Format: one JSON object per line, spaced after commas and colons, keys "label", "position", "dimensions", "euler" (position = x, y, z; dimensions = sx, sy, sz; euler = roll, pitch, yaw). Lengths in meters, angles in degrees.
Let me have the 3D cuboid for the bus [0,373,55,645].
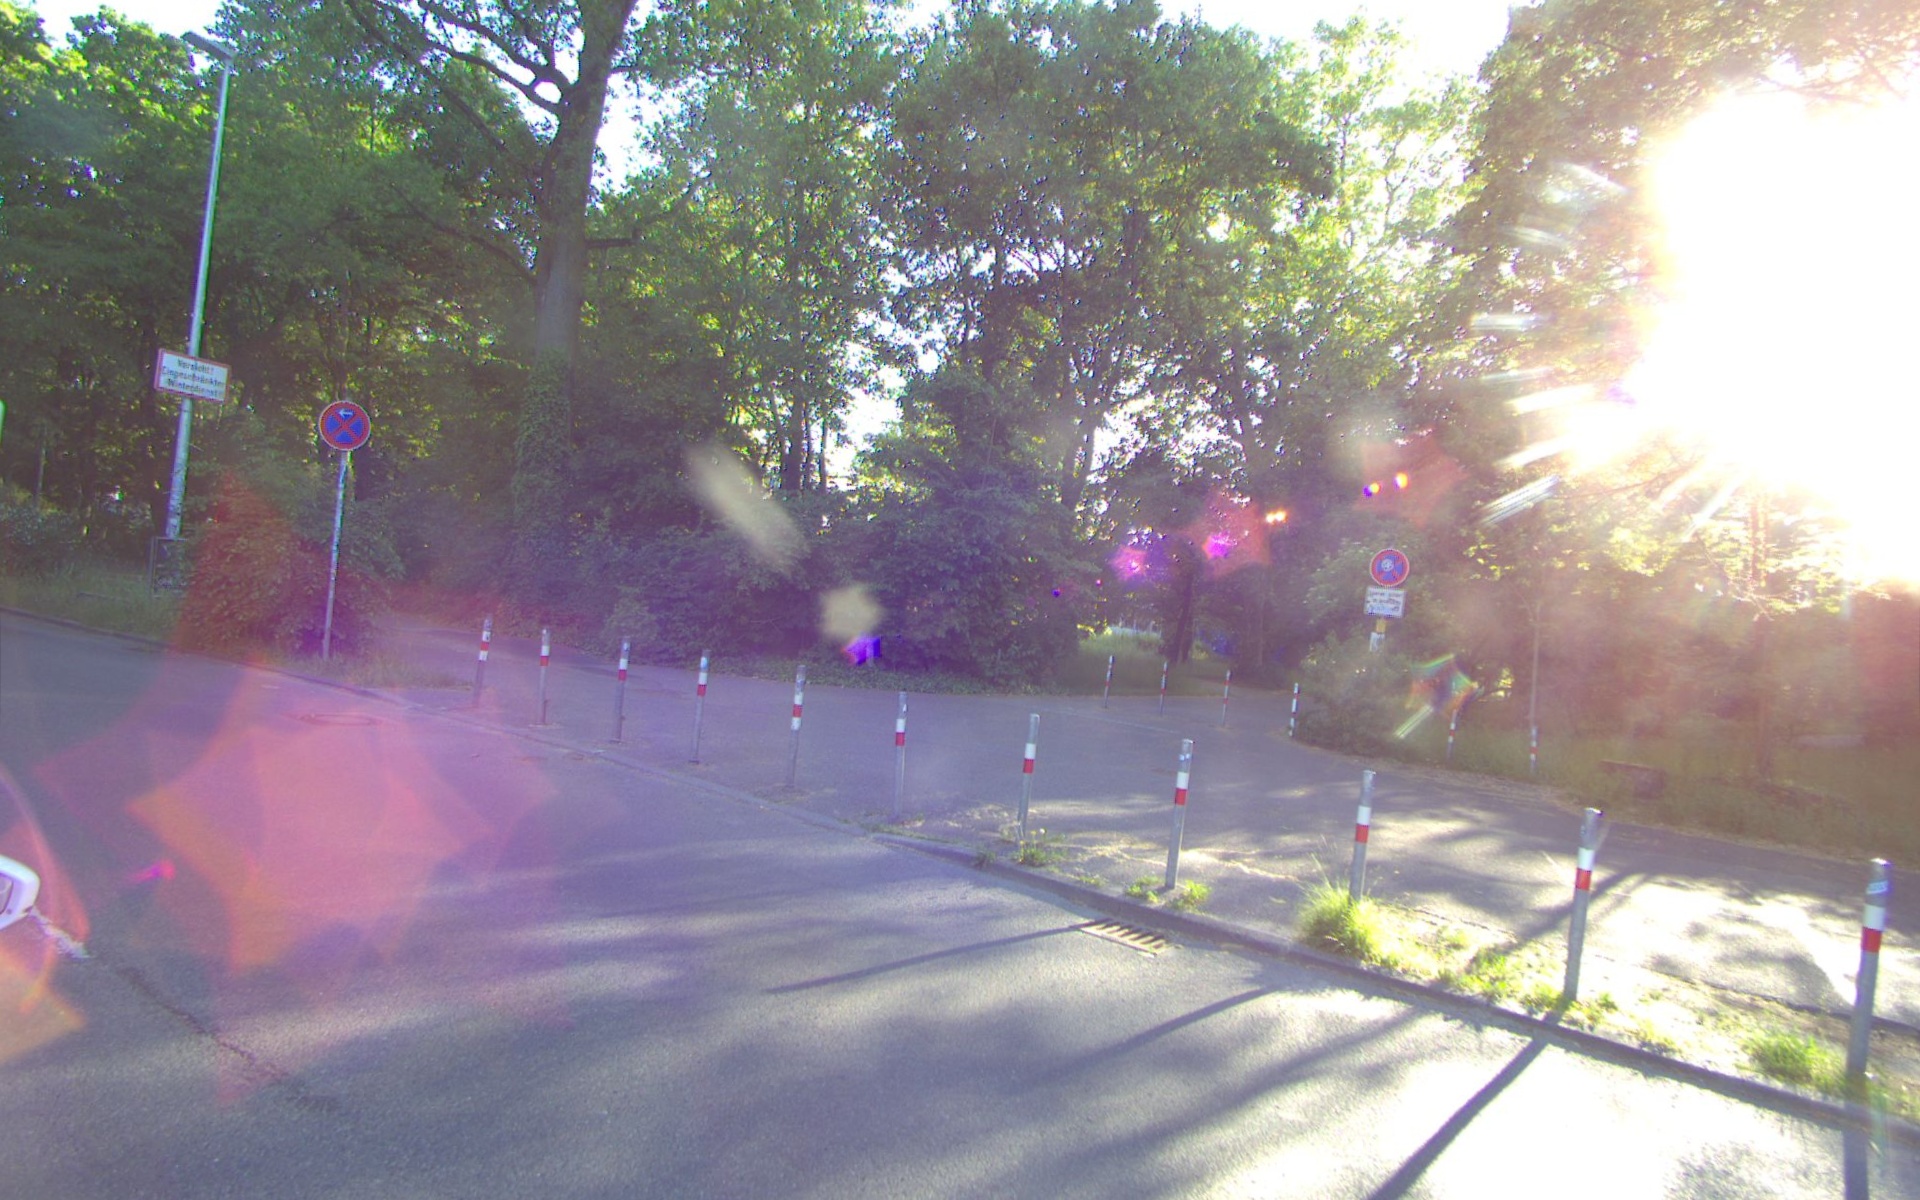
{"label": "bus", "position": [-16.859, -1.754, 13.872], "dimensions": [12.068, 3.120, 3.020], "euler": [6, -3, 32]}
